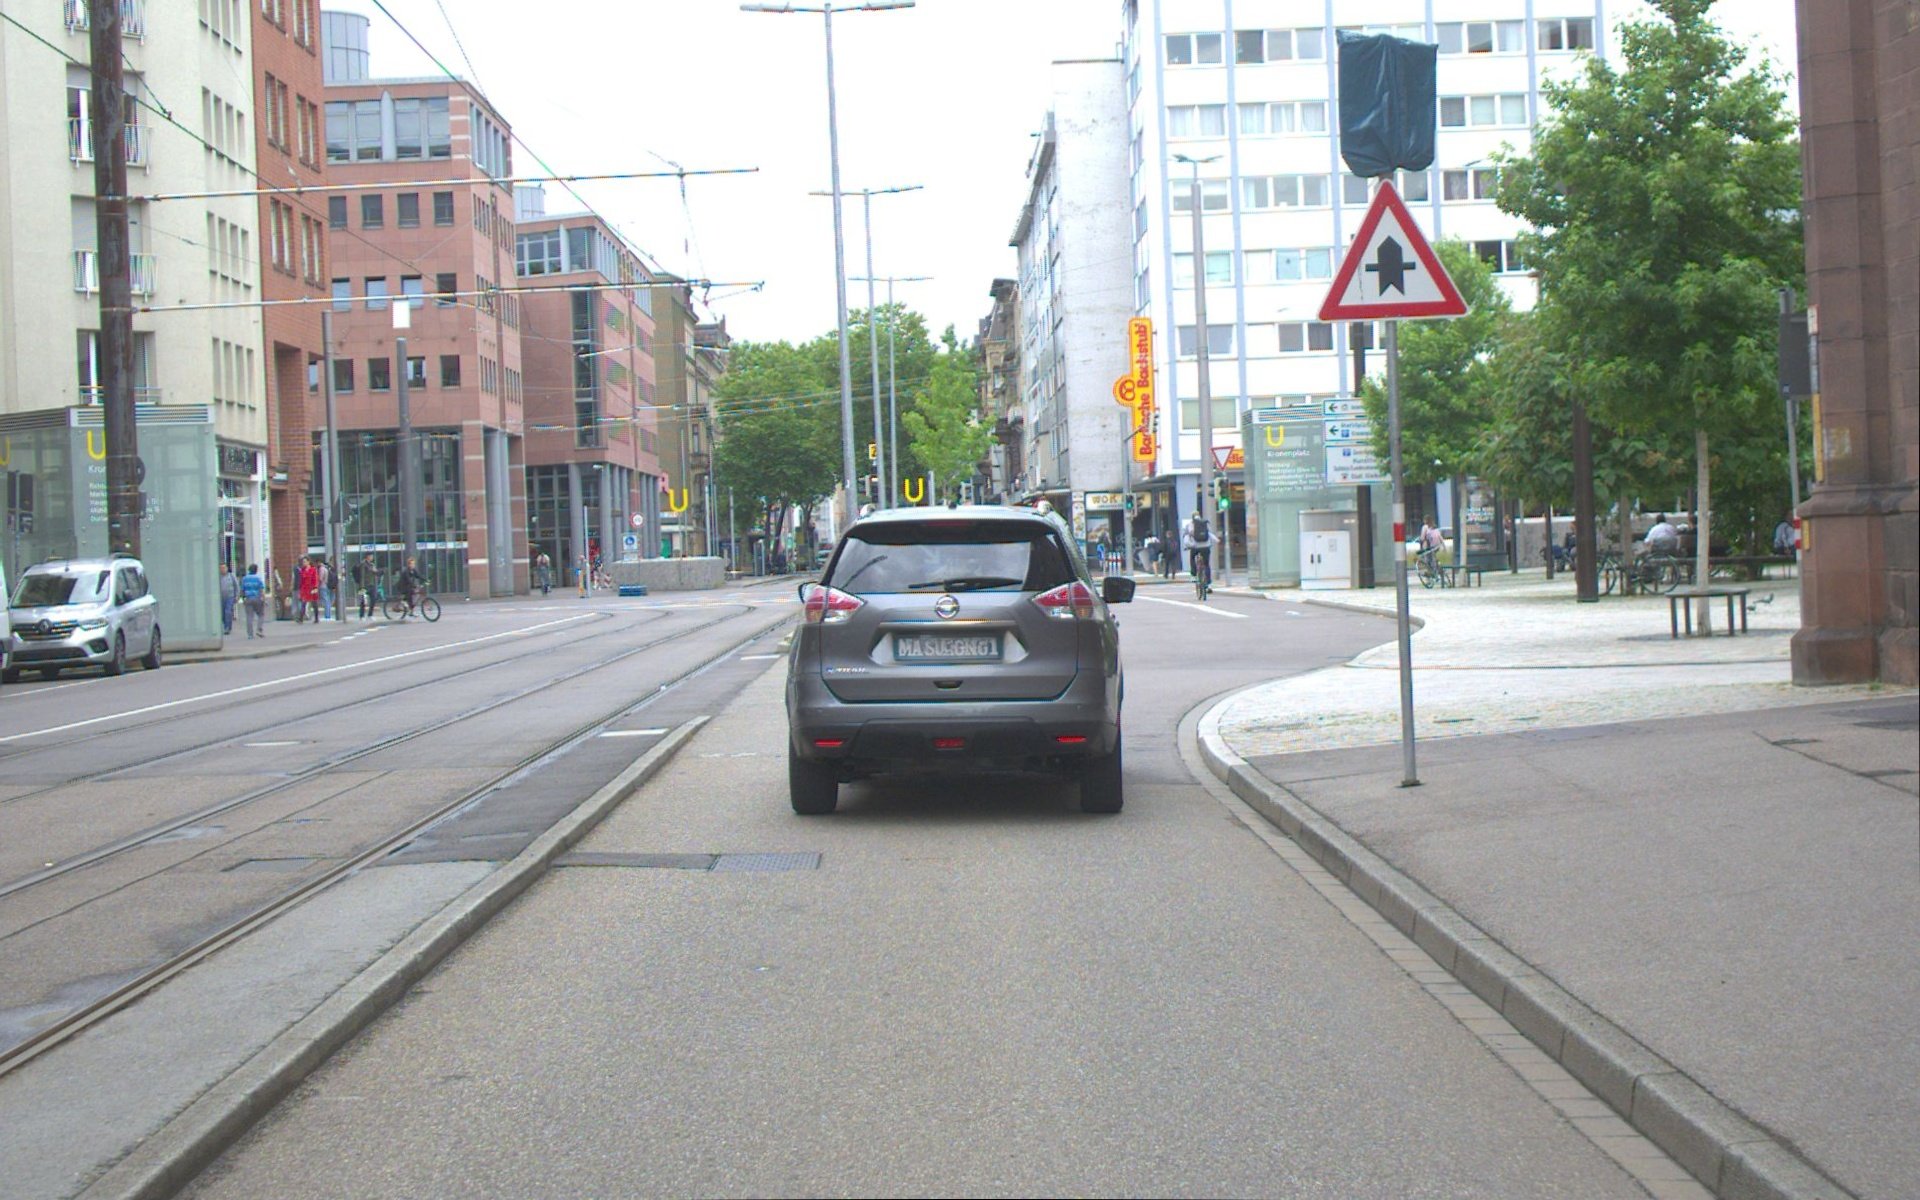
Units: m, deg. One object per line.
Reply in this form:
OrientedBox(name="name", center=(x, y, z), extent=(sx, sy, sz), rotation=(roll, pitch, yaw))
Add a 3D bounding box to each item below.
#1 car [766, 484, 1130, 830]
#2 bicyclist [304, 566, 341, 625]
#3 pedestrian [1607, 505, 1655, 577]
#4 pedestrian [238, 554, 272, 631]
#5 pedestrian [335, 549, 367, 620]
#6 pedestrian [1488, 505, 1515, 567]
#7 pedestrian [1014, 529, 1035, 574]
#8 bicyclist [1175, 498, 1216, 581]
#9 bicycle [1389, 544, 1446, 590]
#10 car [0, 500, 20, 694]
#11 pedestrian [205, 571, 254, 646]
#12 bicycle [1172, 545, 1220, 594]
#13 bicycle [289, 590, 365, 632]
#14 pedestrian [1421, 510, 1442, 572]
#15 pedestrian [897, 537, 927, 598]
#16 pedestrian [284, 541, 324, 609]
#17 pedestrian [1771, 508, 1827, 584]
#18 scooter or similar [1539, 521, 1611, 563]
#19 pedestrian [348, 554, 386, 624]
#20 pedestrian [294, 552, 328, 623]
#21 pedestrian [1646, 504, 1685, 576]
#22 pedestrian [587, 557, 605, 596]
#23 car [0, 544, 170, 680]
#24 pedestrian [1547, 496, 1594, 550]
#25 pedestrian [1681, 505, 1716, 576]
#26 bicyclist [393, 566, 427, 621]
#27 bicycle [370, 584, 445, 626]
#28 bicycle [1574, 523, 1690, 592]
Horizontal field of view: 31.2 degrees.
OrientedBox(name="car", center=(-0.071, 0.221, 20.098), extent=(1.863, 1.768, 4.567), rotation=(-1, 2, 0))
OrientedBox(name="bicyclist", center=(-16.972, -0.122, 91.516), extent=(0.809, 1.535, 0.492), rotation=(-3, 1, 1))
OrientedBox(name="pedestrian", center=(12.946, -1.132, 66.349), extent=(0.628, 1.361, 0.688), rotation=(-1, 1, -19))
OrientedBox(name="pedestrian", center=(-15.898, -0.168, 77.559), extent=(0.660, 1.681, 0.723), rotation=(-3, -1, -10))
OrientedBox(name="pedestrian", center=(-14.848, -0.373, 83.755), extent=(0.660, 1.681, 0.723), rotation=(-2, -1, -13))
OrientedBox(name="pedestrian", center=(15.412, -1.818, 97.885), extent=(0.671, 1.755, 0.641), rotation=(-1, 1, 15))
OrientedBox(name="pedestrian", center=(2.557, -1.922, 136.344), extent=(0.732, 1.740, 0.663), rotation=(-1, 1, -8))
OrientedBox(name="bicyclist", center=(5.197, -1.340, 75.917), extent=(0.834, 1.806, 0.877), rotation=(-1, 1, 2))
OrientedBox(name="bicycle", center=(10.235, -0.743, 76.855), extent=(0.659, 0.975, 1.752), rotation=(-2, 1, 28))
OrientedBox(name="car", center=(-13.270, 0.062, 41.914), extent=(2.053, 2.478, 5.666), rotation=(-5, 1, -2))
OrientedBox(name="pedestrian", center=(-16.756, 0.189, 78.829), extent=(0.721, 1.681, 0.824), rotation=(-3, -1, 18))
OrientedBox(name="bicycle", center=(5.220, -0.683, 76.097), extent=(0.902, 1.041, 3.277), rotation=(-2, 1, 2))
OrientedBox(name="bicycle", center=(-16.859, 0.281, 91.563), extent=(1.906, 1.017, 0.478), rotation=(-3, 1, 2))
OrientedBox(name="pedestrian", center=(11.917, -1.494, 86.957), extent=(0.432, 1.550, 0.499), rotation=(-1, 1, -1))
OrientedBox(name="pedestrian", center=(-1.341, -0.911, 95.550), extent=(0.743, 1.678, 0.799), rotation=(-1, 0, -5))
OrientedBox(name="pedestrian", center=(-16.634, -0.627, 87.128), extent=(0.868, 1.681, 0.662), rotation=(-2, -1, -15))
OrientedBox(name="pedestrian", center=(15.455, -0.990, 63.353), extent=(0.628, 1.361, 1.410), rotation=(-1, 1, -2))
OrientedBox(name="scooter or similar", center=(15.658, -1.483, 87.566), extent=(1.590, 0.945, 0.723), rotation=(-4, 1, 38))
OrientedBox(name="pedestrian", center=(-16.114, -0.297, 93.450), extent=(0.896, 1.883, 0.799), rotation=(-1, 0, -3))
OrientedBox(name="pedestrian", center=(-15.750, -0.303, 83.427), extent=(0.720, 1.681, 0.662), rotation=(-3, -1, -11))
OrientedBox(name="pedestrian", center=(13.644, -1.164, 66.497), extent=(0.628, 1.361, 0.918), rotation=(-1, 1, 17))
OrientedBox(name="pedestrian", center=(-17.677, -1.140, 166.940), extent=(0.700, 1.835, 0.734), rotation=(-1, 1, 8))
OrientedBox(name="car", center=(-13.462, 0.158, 52.246), extent=(1.902, 1.858, 4.521), rotation=(-4, 1, -2))
OrientedBox(name="pedestrian", center=(15.508, -1.946, 87.352), extent=(1.044, 1.292, 0.733), rotation=(-4, 0, 5))
OrientedBox(name="pedestrian", center=(14.331, -1.156, 66.718), extent=(0.543, 1.361, 1.279), rotation=(-1, 1, 17))
OrientedBox(name="bicyclist", center=(-14.406, -0.179, 90.043), extent=(0.809, 1.402, 0.480), rotation=(-3, 1, -7))
OrientedBox(name="bicycle", center=(-14.465, 0.124, 90.041), extent=(1.905, 1.017, 0.481), rotation=(-3, 1, -8))
OrientedBox(name="bicycle", center=(11.441, -0.722, 58.576), extent=(1.915, 1.119, 0.645), rotation=(-1, 1, 10))
